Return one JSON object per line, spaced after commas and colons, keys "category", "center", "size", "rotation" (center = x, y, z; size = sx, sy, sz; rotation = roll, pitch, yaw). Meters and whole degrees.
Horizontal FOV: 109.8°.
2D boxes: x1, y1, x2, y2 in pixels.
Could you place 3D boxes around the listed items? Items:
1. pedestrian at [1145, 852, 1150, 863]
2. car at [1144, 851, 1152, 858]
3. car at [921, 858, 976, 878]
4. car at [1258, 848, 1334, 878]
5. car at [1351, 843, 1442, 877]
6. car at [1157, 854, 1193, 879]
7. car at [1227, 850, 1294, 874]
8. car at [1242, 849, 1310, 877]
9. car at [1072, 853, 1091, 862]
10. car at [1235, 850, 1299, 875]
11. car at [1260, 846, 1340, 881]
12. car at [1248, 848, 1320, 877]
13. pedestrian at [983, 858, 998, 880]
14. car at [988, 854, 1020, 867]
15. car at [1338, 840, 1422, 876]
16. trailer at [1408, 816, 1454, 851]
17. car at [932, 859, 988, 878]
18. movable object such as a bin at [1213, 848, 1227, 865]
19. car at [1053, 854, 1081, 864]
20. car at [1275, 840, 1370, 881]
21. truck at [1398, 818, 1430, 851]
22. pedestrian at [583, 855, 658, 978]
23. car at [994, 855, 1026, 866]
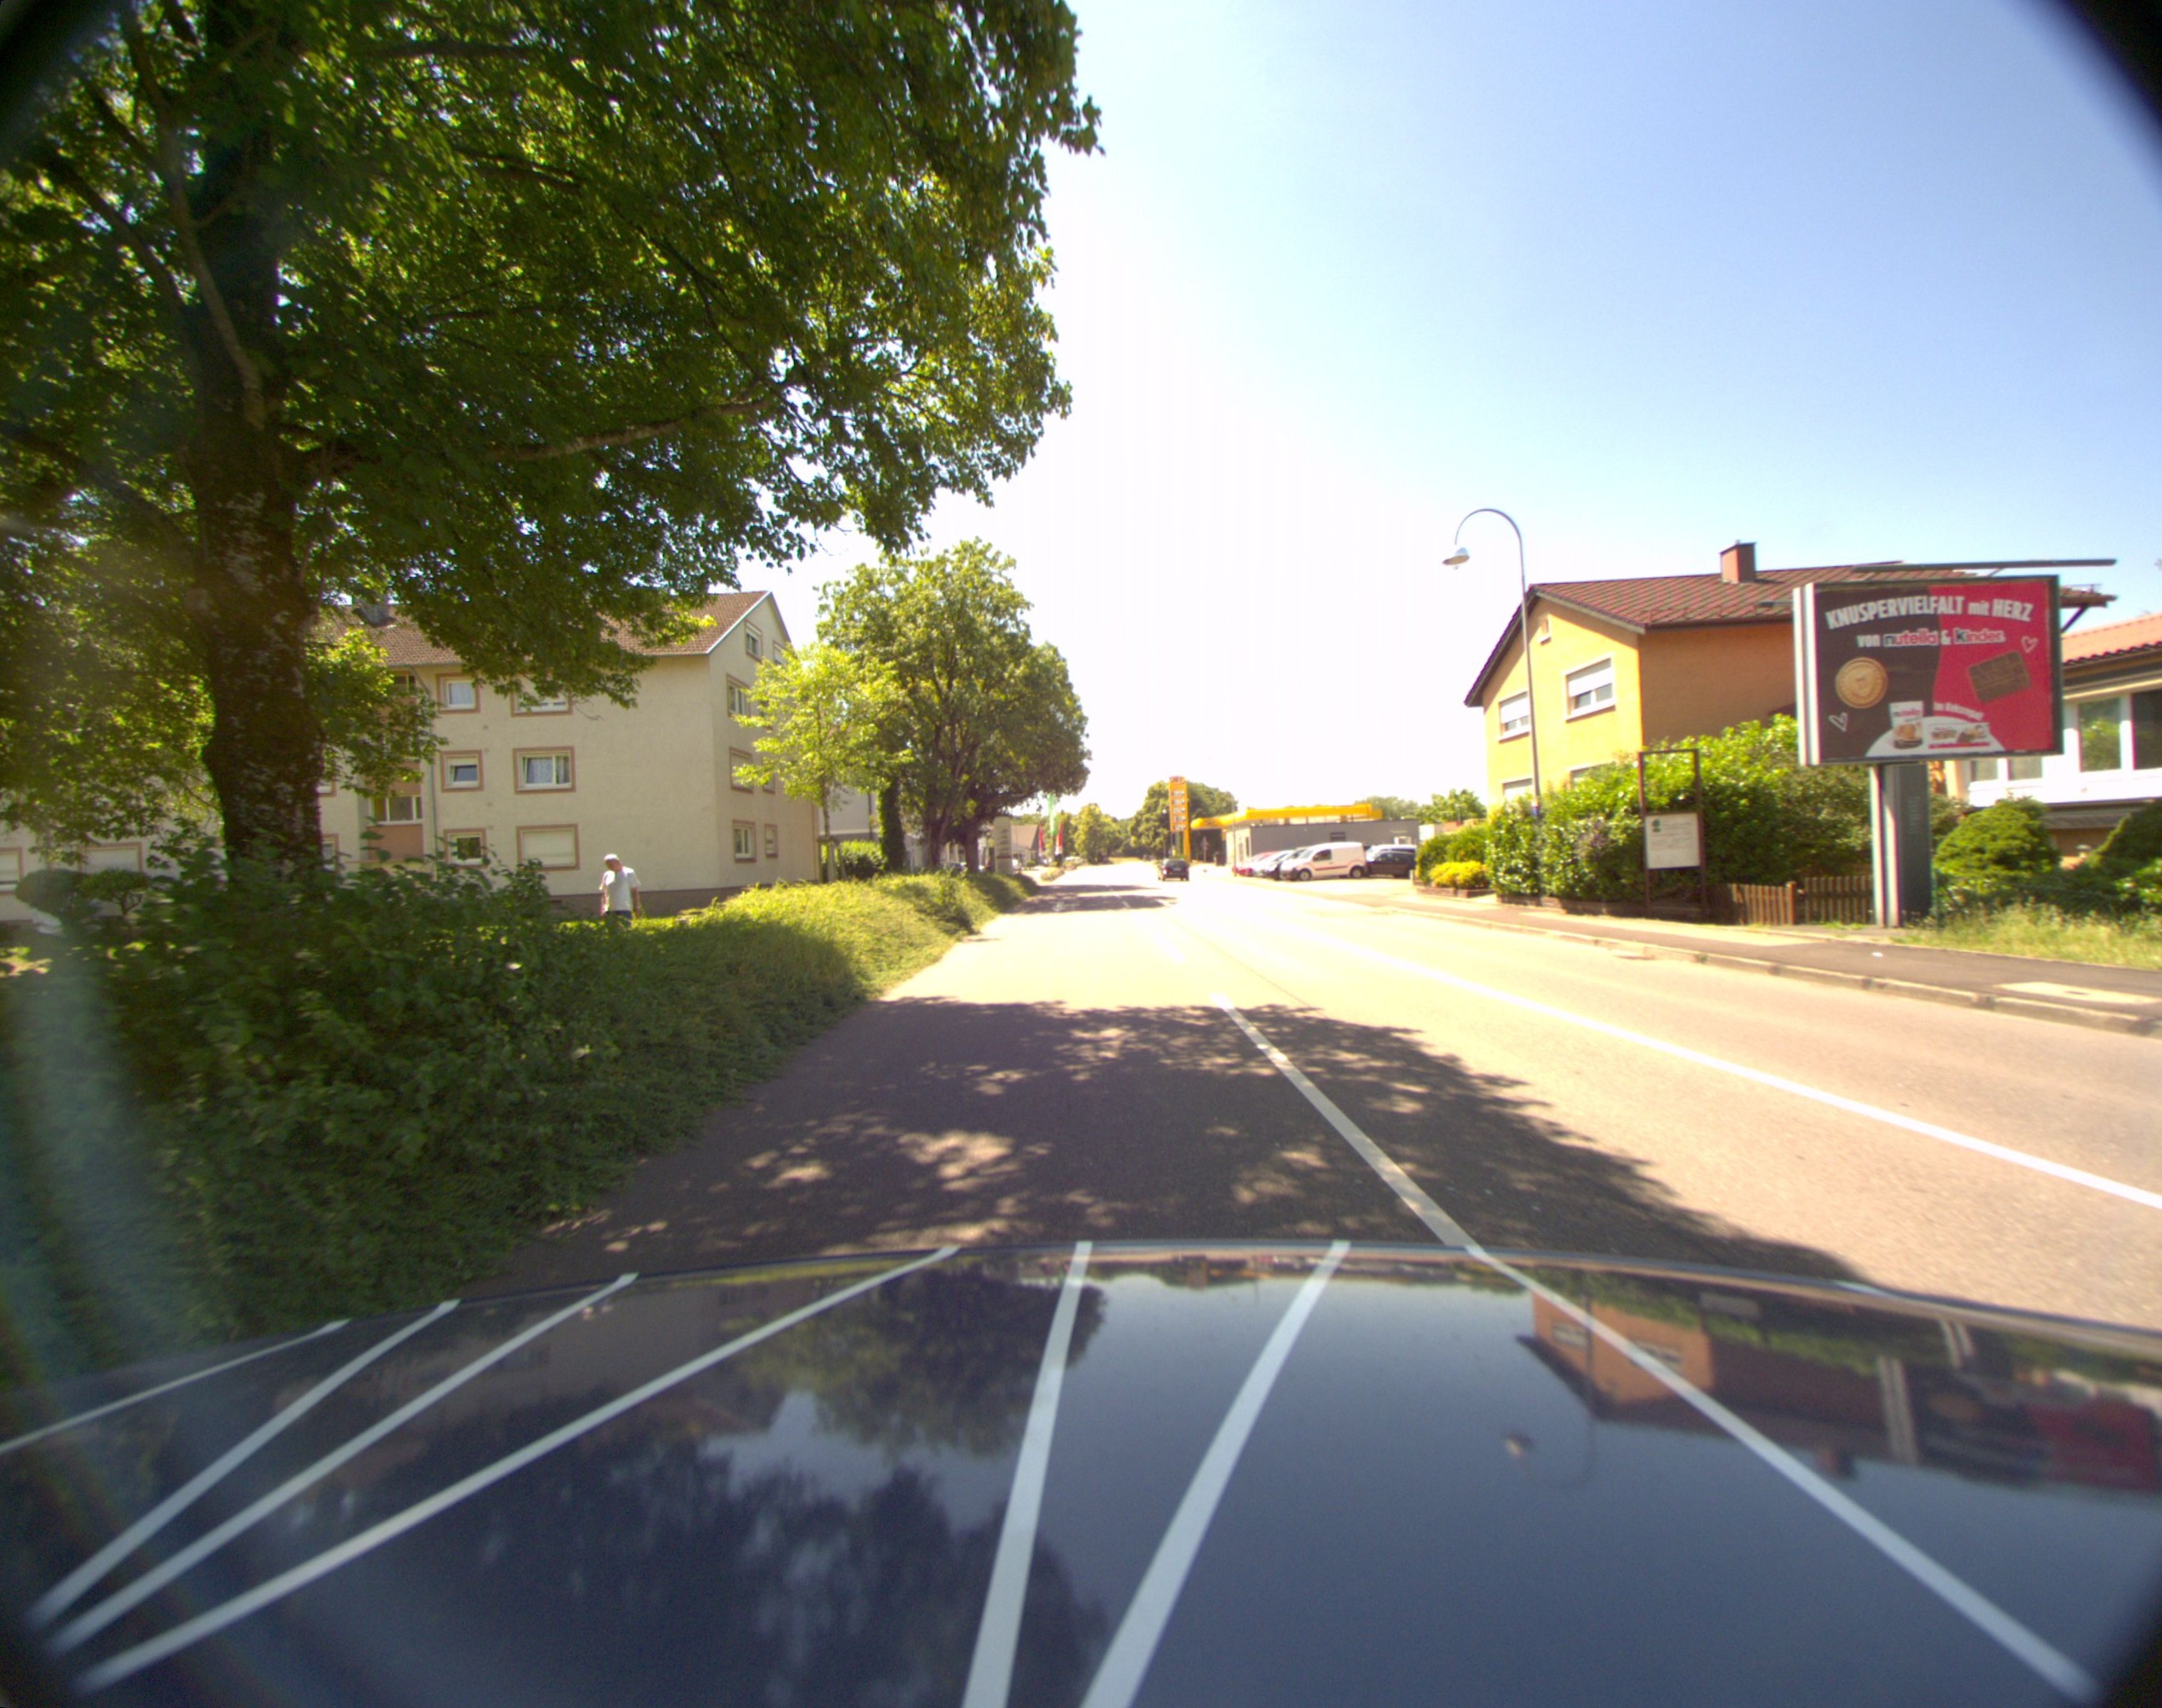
{"category": "pedestrian", "center": [11.815, 0.611, 135.711], "size": [0.730, 1.779, 0.621], "rotation": [-2, 1, 14]}
{"category": "car", "center": [16.874, 0.094, 191.249], "size": [1.973, 1.662, 4.251], "rotation": [-2, 0, 7]}
{"category": "car", "center": [-10.558, 1.095, 60.795], "size": [3.997, 1.541, 1.797], "rotation": [-1, 1, 0]}
{"category": "car", "center": [12.101, 0.503, 42.938], "size": [3.673, 1.523, 1.922], "rotation": [-2, 1, -2]}
{"category": "car", "center": [16.825, 0.334, 40.630], "size": [3.997, 1.559, 1.830], "rotation": [-3, 0, -1]}
{"category": "car", "center": [6.010, 0.766, 49.121], "size": [1.714, 1.486, 4.277], "rotation": [-2, 0, 0]}
{"category": "car", "center": [12.280, 0.536, 52.064], "size": [4.136, 1.435, 1.827], "rotation": [-2, 1, 0]}
{"category": "car", "center": [12.082, 0.552, 47.239], "size": [3.673, 1.596, 1.881], "rotation": [-2, 1, -2]}
{"category": "car", "center": [0.064, 0.653, 144.154], "size": [3.405, 1.497, 1.582], "rotation": [-2, 0, 2]}
{"category": "car", "center": [12.155, 0.543, 49.758], "size": [3.673, 1.449, 1.892], "rotation": [-2, 1, -2]}
{"category": "car", "center": [11.675, 0.480, 40.669], "size": [3.673, 1.663, 1.922], "rotation": [-2, 1, -2]}
{"category": "car", "center": [11.982, 0.482, 45.043], "size": [3.673, 1.572, 1.922], "rotation": [-2, 1, -2]}
{"category": "pedestrian", "center": [-6.953, 1.114, 58.504], "size": [0.842, 1.632, 1.010], "rotation": [-2, 1, 5]}
{"category": "car", "center": [-10.545, 0.885, 103.974], "size": [3.859, 1.524, 1.680], "rotation": [-1, 1, 19]}
{"category": "car", "center": [16.769, 0.211, 42.785], "size": [3.912, 1.850, 2.000], "rotation": [-2, 0, -1]}
{"category": "trailer", "center": [34.610, -1.987, 75.361], "size": [1.869, 3.200, 5.914], "rotation": [-2, 0, 1]}
{"category": "car", "center": [-10.292, 1.219, 64.509], "size": [4.362, 1.363, 1.952], "rotation": [-2, 1, -22]}
{"category": "movable object such as a bin", "center": [13.757, 0.274, 75.371], "size": [0.954, 1.508, 1.428], "rotation": [-6, -1, 1]}
{"category": "car", "center": [-2.409, 0.856, 132.276], "size": [4.522, 1.658, 1.895], "rotation": [-2, 0, 10]}
{"category": "car", "center": [12.189, 0.321, 38.568], "size": [4.105, 1.887, 1.999], "rotation": [-2, 1, -4]}
{"category": "truck", "center": [34.692, -1.968, 79.220], "size": [1.850, 3.223, 3.190], "rotation": [-2, 0, 1]}
{"category": "pedestrian", "center": [-7.391, 0.986, 12.220], "size": [0.705, 1.903, 0.660], "rotation": [-2, 1, 4]}
{"category": "car", "center": [-9.937, 0.883, 105.883], "size": [3.992, 1.452, 1.807], "rotation": [-2, 1, 17]}
